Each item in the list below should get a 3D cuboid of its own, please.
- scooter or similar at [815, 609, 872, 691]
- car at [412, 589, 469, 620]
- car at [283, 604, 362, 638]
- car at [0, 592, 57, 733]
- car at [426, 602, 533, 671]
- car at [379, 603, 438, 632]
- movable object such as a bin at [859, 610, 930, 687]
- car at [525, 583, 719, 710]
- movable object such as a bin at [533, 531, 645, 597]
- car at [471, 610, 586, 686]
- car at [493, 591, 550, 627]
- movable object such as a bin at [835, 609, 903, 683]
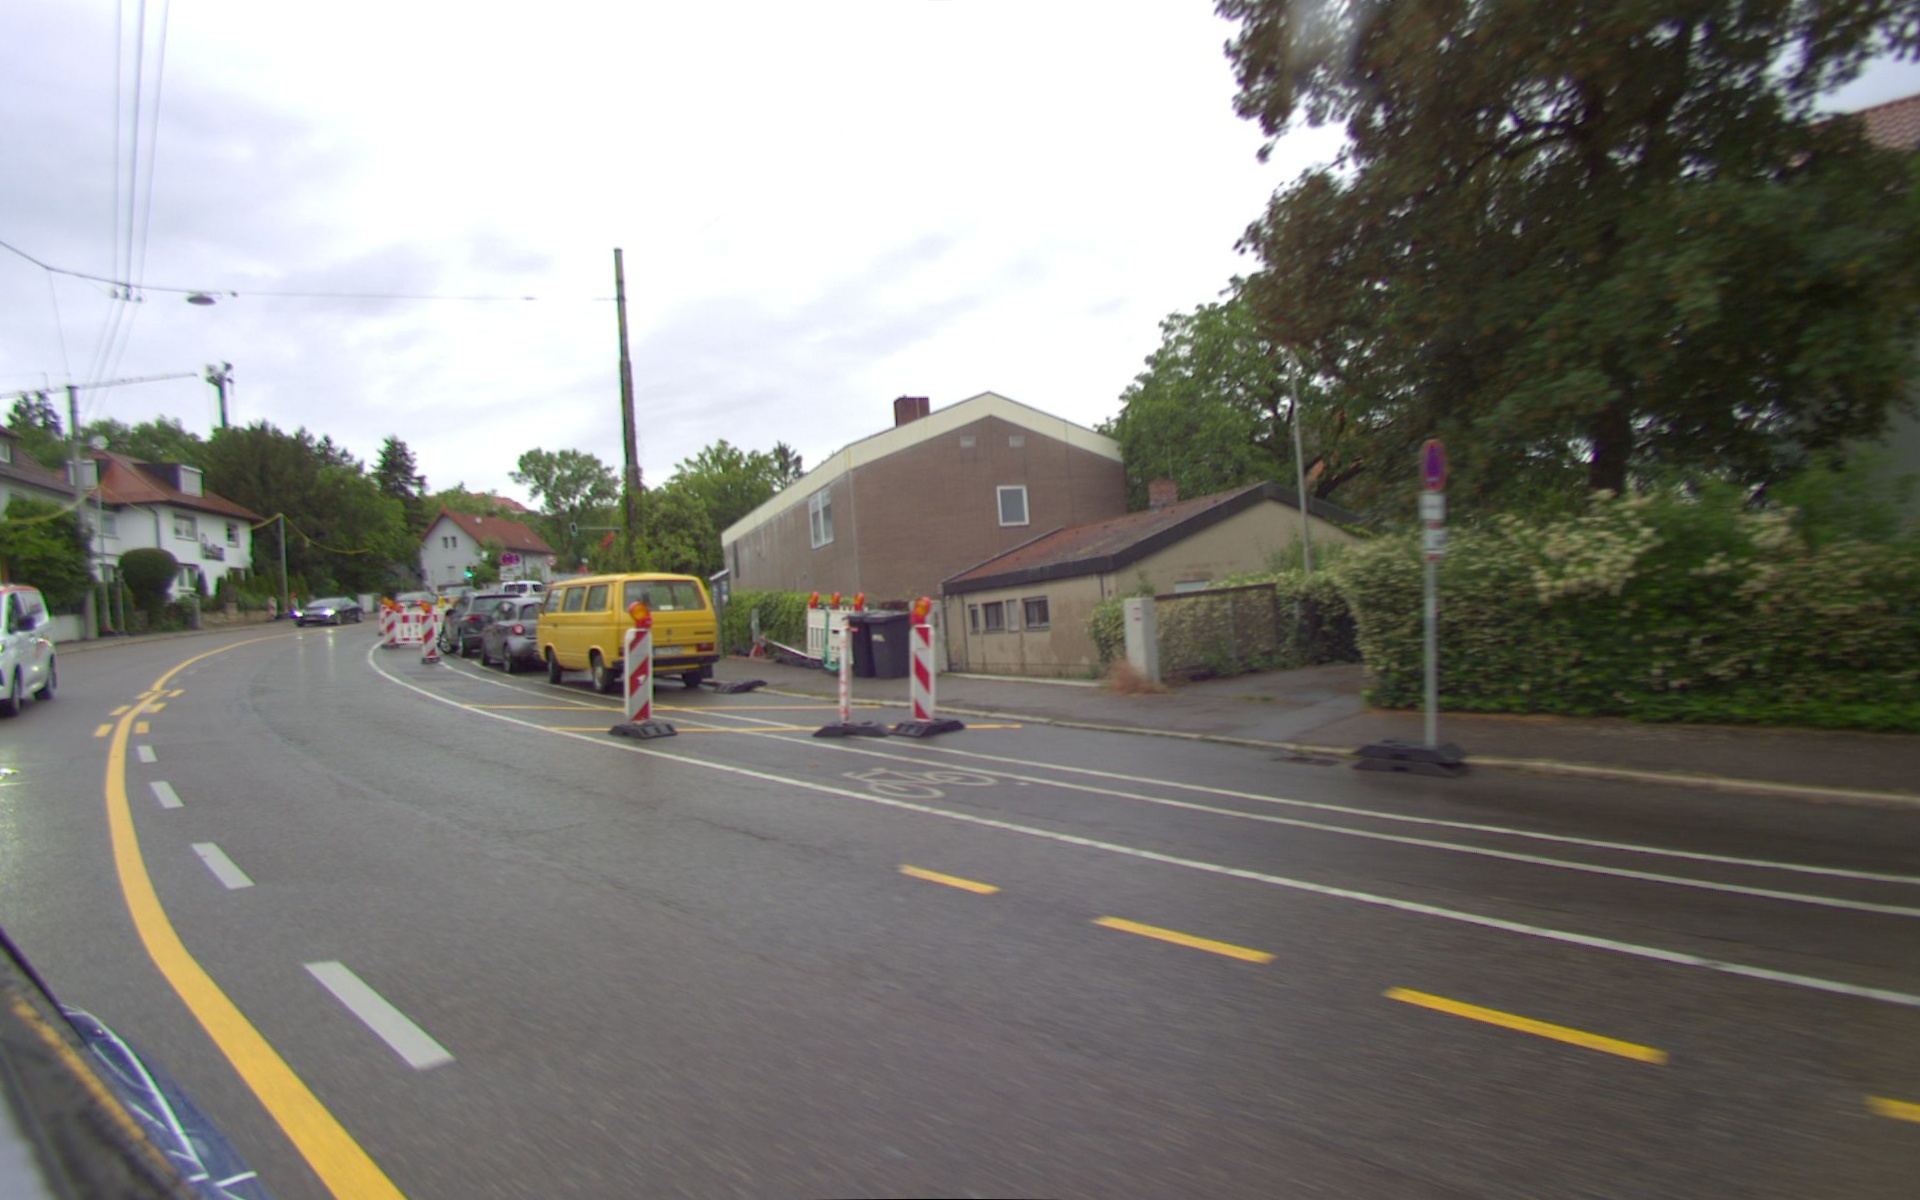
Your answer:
[{"bbox_3d":[-1.962,0.813,16.972,0.393,1.269,1.321,-5,3,-28],"label":"scooter or similar"},{"bbox_3d":[-36.100,0.272,70.422,1.987,1.954,4.002,-2,2,-2],"label":"car"},{"bbox_3d":[-32.883,1.066,52.338,1.957,1.447,4.526,-2,2,-12],"label":"car"},{"bbox_3d":[-15.294,0.904,15.159,2.009,1.953,4.527,-1,0,-34],"label":"car"},{"bbox_3d":[-12.907,0.913,27.046,1.697,1.620,4.473,-3,1,-36],"label":"car"},{"bbox_3d":[-31.025,0.937,57.031,1.766,1.501,4.684,-2,1,-14],"label":"car"},{"bbox_3d":[-1.054,0.761,16.276,0.848,1.148,0.713,-3,2,-41],"label":"movable object such as a bin"},{"bbox_3d":[-6.076,0.726,17.817,1.780,1.942,4.586,-1,0,-38],"label":"car"},{"bbox_3d":[-39.177,-3.776,107.293,8.944,6.600,7.027,-1,2,5],"label":"movable object such as a bin"},{"bbox_3d":[-9.603,0.986,22.391,1.554,1.465,3.472,-1,1,-36],"label":"car"},{"bbox_3d":[-24.282,0.445,56.172,1.782,1.814,4.471,-2,1,-9],"label":"car"},{"bbox_3d":[-1.515,0.745,16.869,0.848,1.148,0.713,-3,2,-41],"label":"movable object such as a bin"}]
